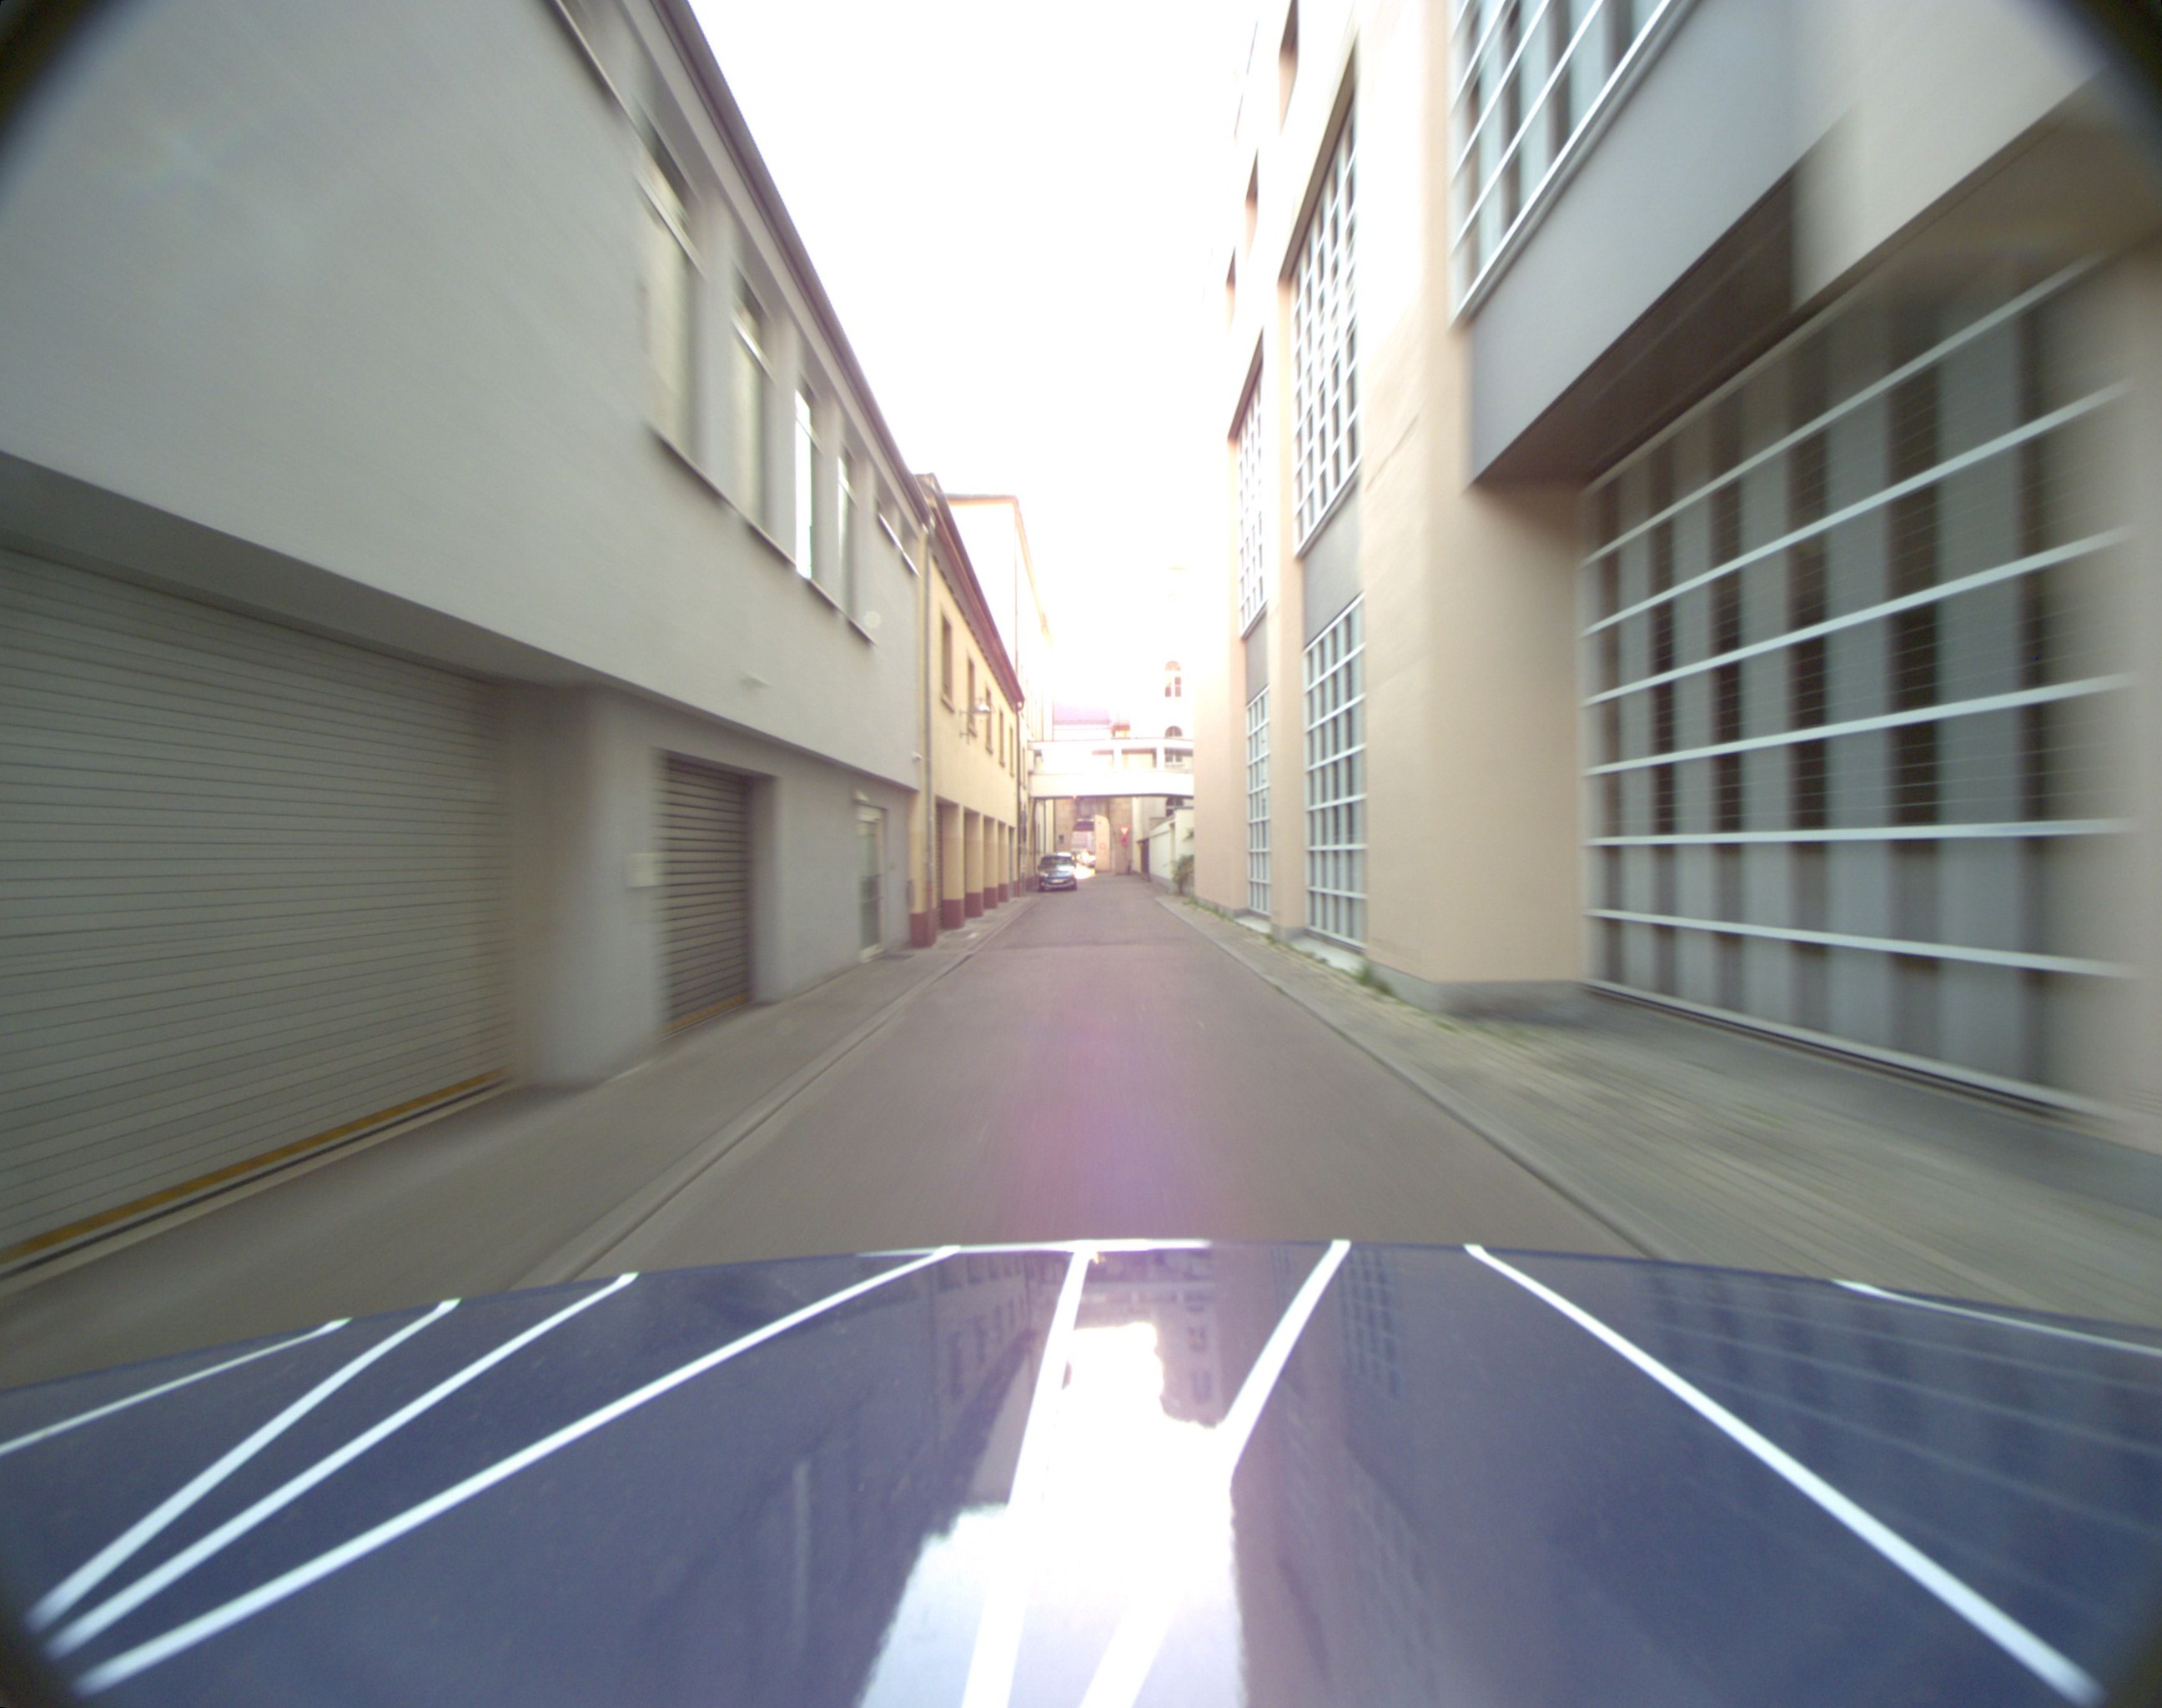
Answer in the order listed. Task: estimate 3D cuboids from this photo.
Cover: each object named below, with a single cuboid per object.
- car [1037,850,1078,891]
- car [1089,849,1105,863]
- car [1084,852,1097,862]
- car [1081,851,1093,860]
[{"bbox_3d":[-1.072,0.743,36.503,1.764,1.756,4.750,-2,0,0],"label":"car"},{"bbox_3d":[2.101,0.211,102.068,1.998,1.805,4.000,-2,0,0],"label":"car"},{"bbox_3d":[1.420,0.474,120.361,1.806,1.415,3.754,-2,0,-3],"label":"car"},{"bbox_3d":[0.922,0.292,126.090,1.806,1.415,3.754,-2,0,-2],"label":"car"}]
